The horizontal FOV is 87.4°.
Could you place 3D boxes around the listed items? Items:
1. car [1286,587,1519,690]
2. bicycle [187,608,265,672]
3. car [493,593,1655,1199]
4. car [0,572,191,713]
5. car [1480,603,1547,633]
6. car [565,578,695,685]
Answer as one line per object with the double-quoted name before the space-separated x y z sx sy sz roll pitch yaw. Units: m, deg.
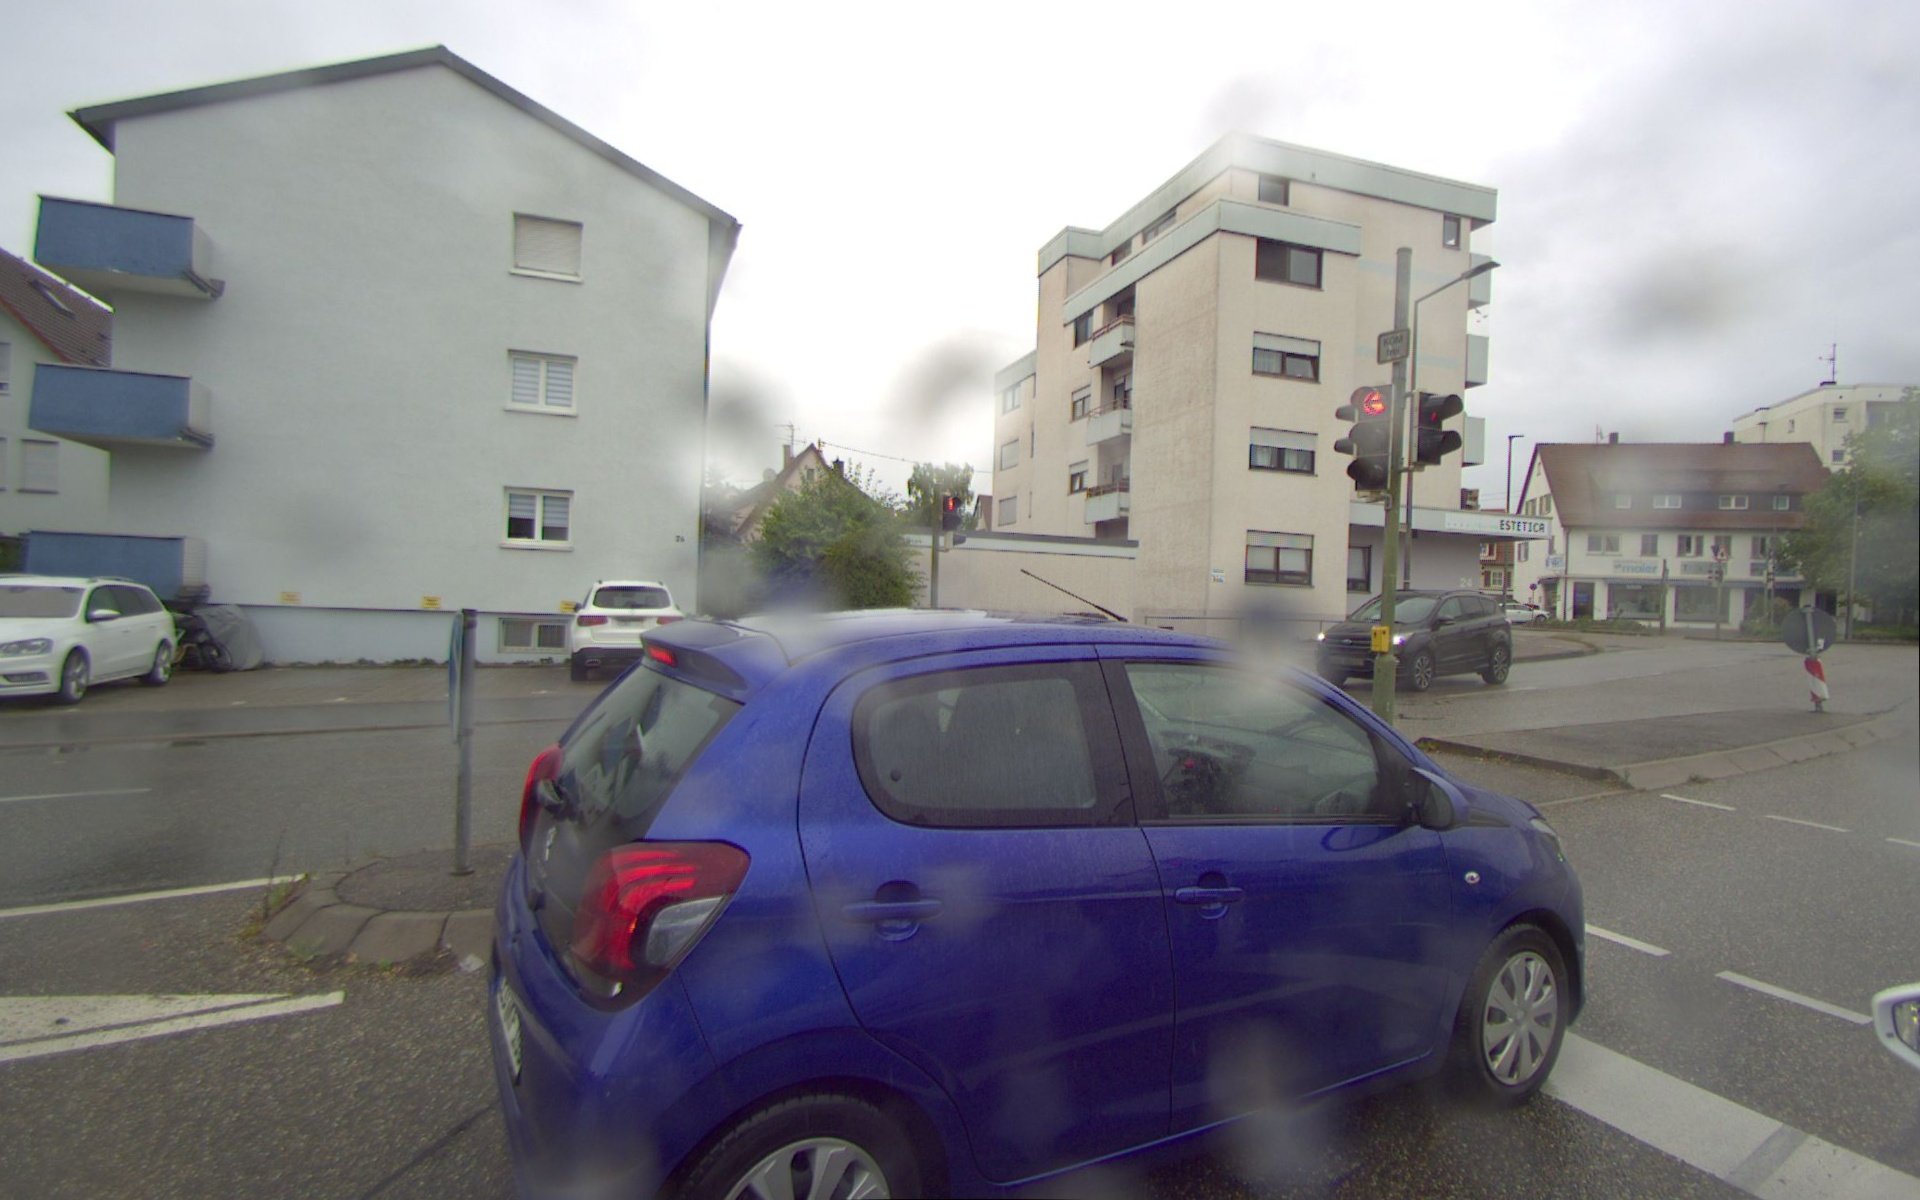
"car" 7.897 0.639 17.823 4.142 1.618 1.867 1 0 -34
"bicycle" -12.705 0.684 17.415 1.053 1.067 0.345 0 1 -30
"car" 0.458 0.729 3.094 3.324 1.432 1.498 1 1 -30
"car" -11.492 0.451 12.500 1.854 1.480 4.732 1 -1 -23
"car" 37.913 1.232 68.888 3.611 1.946 1.889 2 0 14
"car" -5.774 0.505 17.570 1.884 1.637 3.983 2 0 -19
